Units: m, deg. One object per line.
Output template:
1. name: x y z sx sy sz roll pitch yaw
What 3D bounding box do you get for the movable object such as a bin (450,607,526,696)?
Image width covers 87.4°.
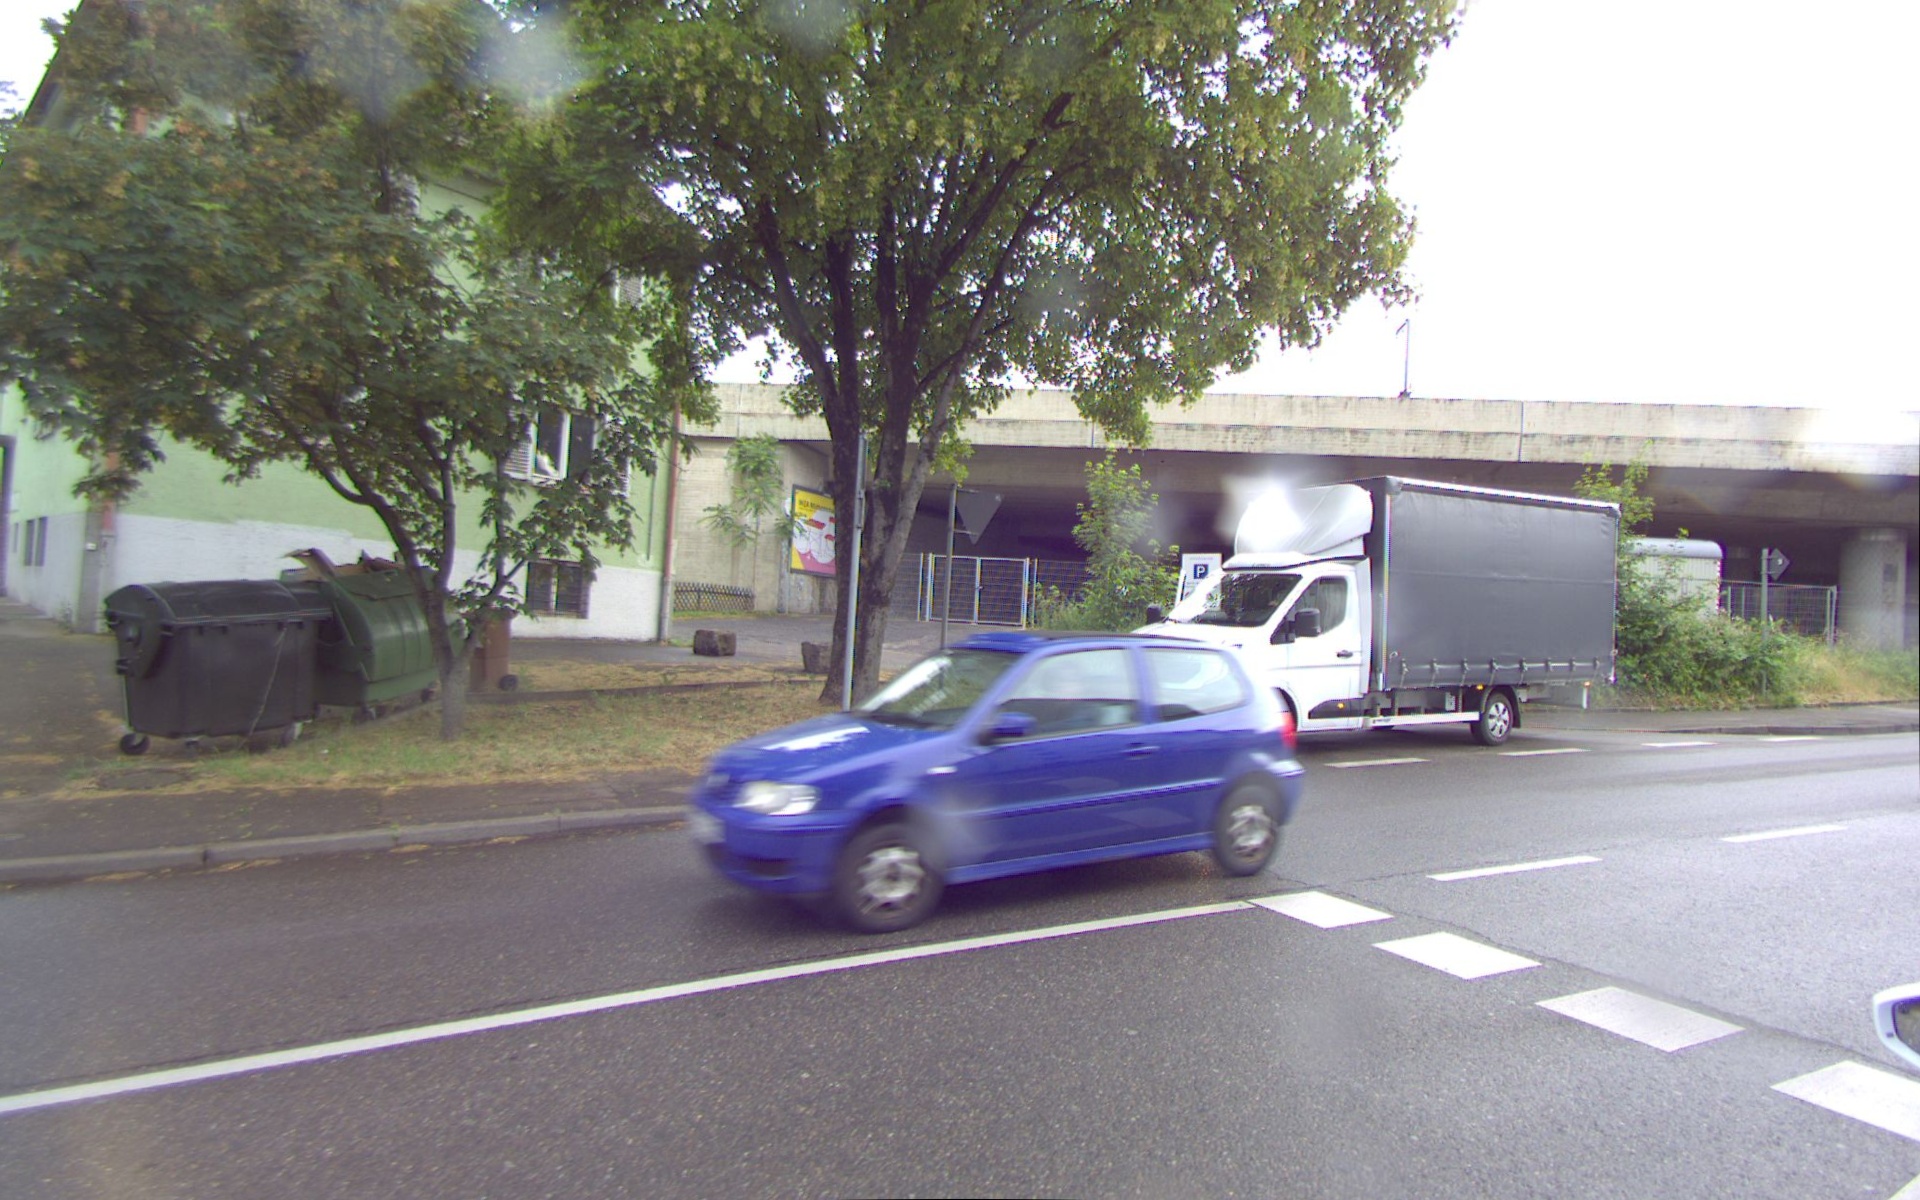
1. movable object such as a bin: -5.395 0.585 11.480 0.715 0.970 0.554 3 -1 -30

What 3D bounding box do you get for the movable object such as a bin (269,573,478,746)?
1. movable object such as a bin: -5.781 0.525 10.001 1.078 1.457 1.463 4 5 13

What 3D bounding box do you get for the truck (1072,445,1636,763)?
1. truck: 5.432 0.184 13.352 7.680 3.279 2.600 2 -1 -28

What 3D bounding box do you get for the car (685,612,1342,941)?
1. car: 0.380 0.836 6.032 3.651 1.444 1.591 2 -1 -28

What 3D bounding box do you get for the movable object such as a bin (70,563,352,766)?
1. movable object such as a bin: -6.359 0.474 8.641 1.268 1.457 1.463 4 5 13
